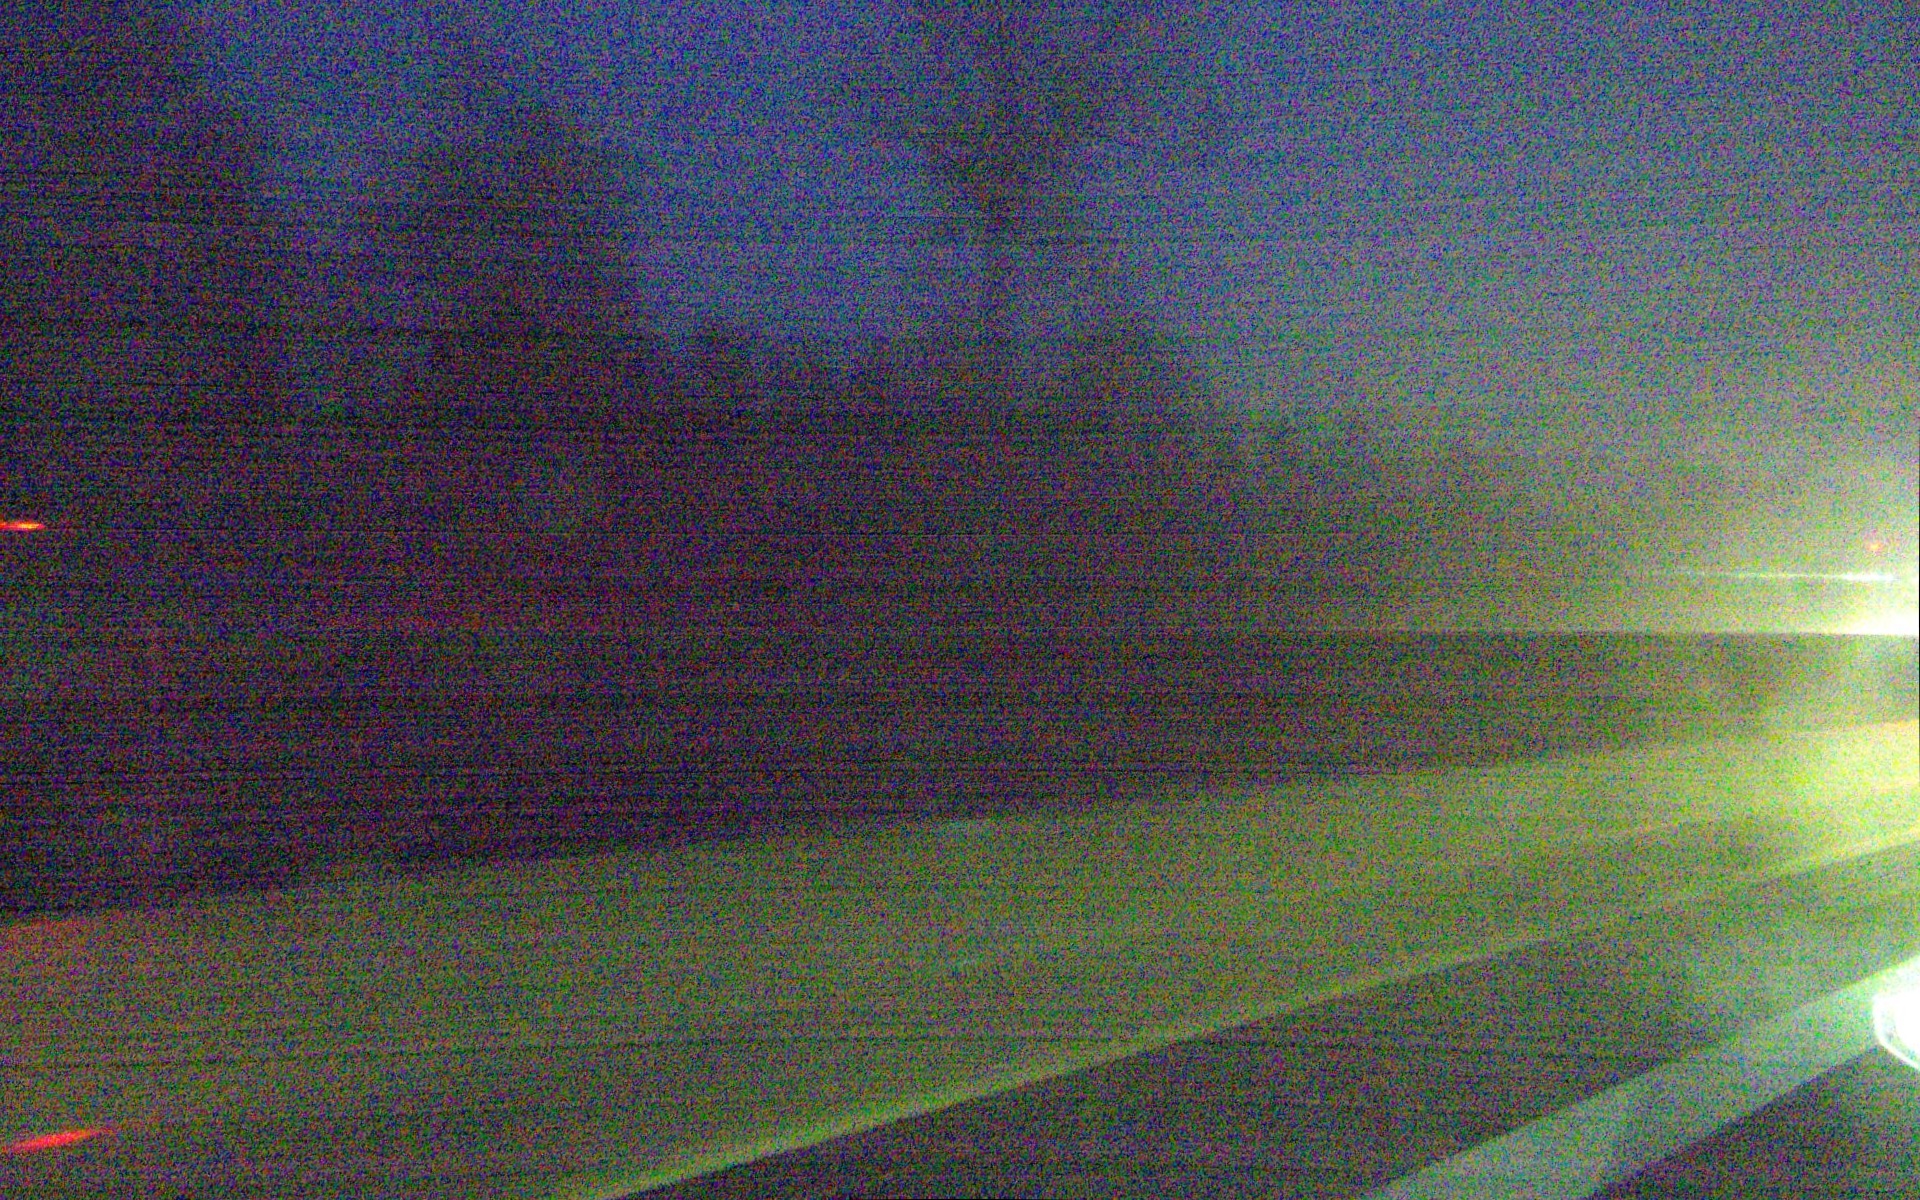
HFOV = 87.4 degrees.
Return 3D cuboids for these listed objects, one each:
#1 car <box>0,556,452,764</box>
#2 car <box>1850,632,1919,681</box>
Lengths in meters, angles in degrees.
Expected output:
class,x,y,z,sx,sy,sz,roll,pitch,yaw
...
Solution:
class,x,y,z,sx,sy,sz,roll,pitch,yaw
car,-7.404,0.517,10.222,3.950,1.758,1.985,1,2,-28
car,33.707,1.969,35.672,3.956,1.546,2.112,1,0,-33
